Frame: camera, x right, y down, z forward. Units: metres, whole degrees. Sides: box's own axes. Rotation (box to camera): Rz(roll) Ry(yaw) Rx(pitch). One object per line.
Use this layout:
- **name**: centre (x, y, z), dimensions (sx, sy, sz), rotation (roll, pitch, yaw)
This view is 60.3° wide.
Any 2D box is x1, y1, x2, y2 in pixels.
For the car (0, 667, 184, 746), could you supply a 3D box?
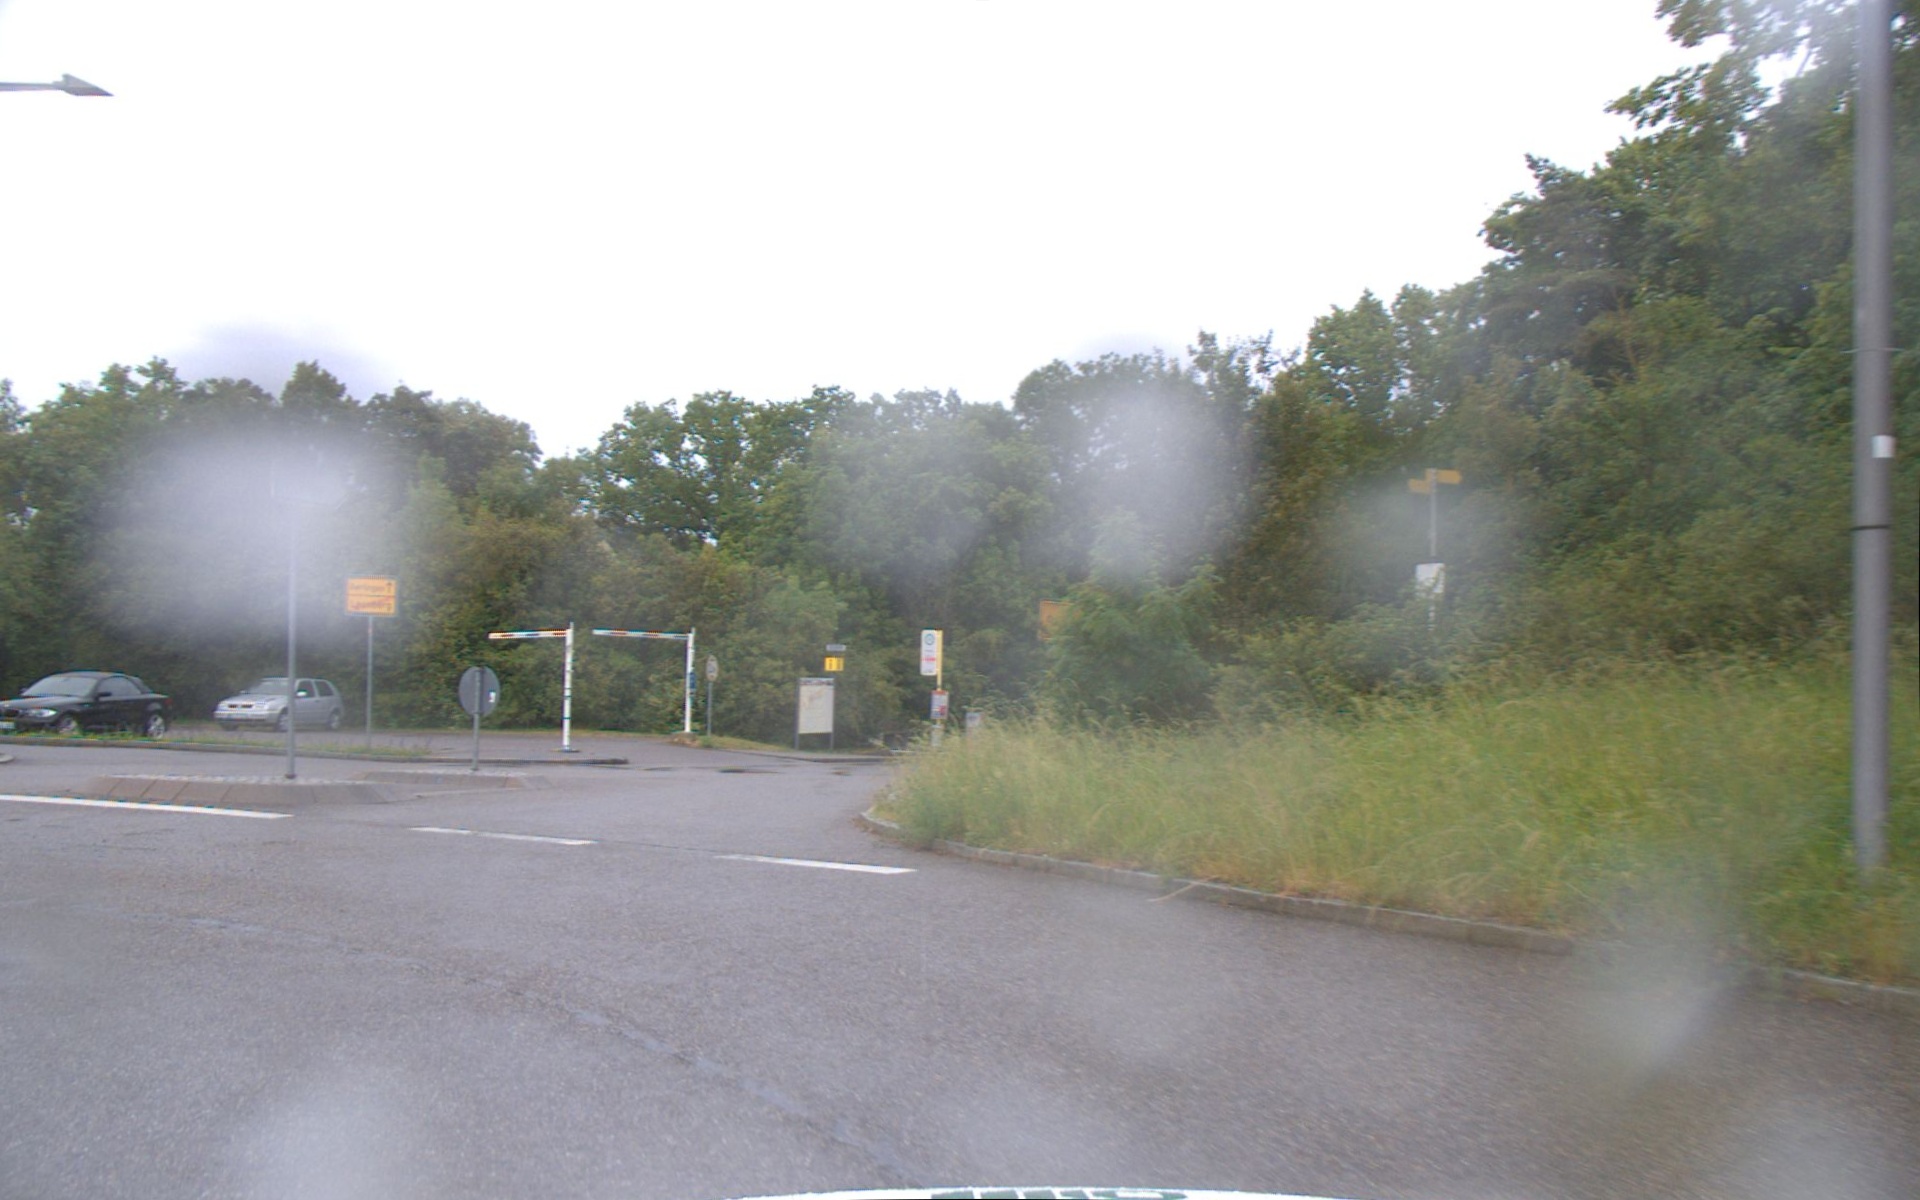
- **car**: centre (-17.058, 2.100, 32.078), dimensions (1.586, 1.379, 4.191), rotation (1, -5, 7)

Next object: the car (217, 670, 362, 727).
- **car**: centre (-17.687, 2.649, 43.812), dimensions (1.567, 1.379, 4.125), rotation (1, -4, 10)
